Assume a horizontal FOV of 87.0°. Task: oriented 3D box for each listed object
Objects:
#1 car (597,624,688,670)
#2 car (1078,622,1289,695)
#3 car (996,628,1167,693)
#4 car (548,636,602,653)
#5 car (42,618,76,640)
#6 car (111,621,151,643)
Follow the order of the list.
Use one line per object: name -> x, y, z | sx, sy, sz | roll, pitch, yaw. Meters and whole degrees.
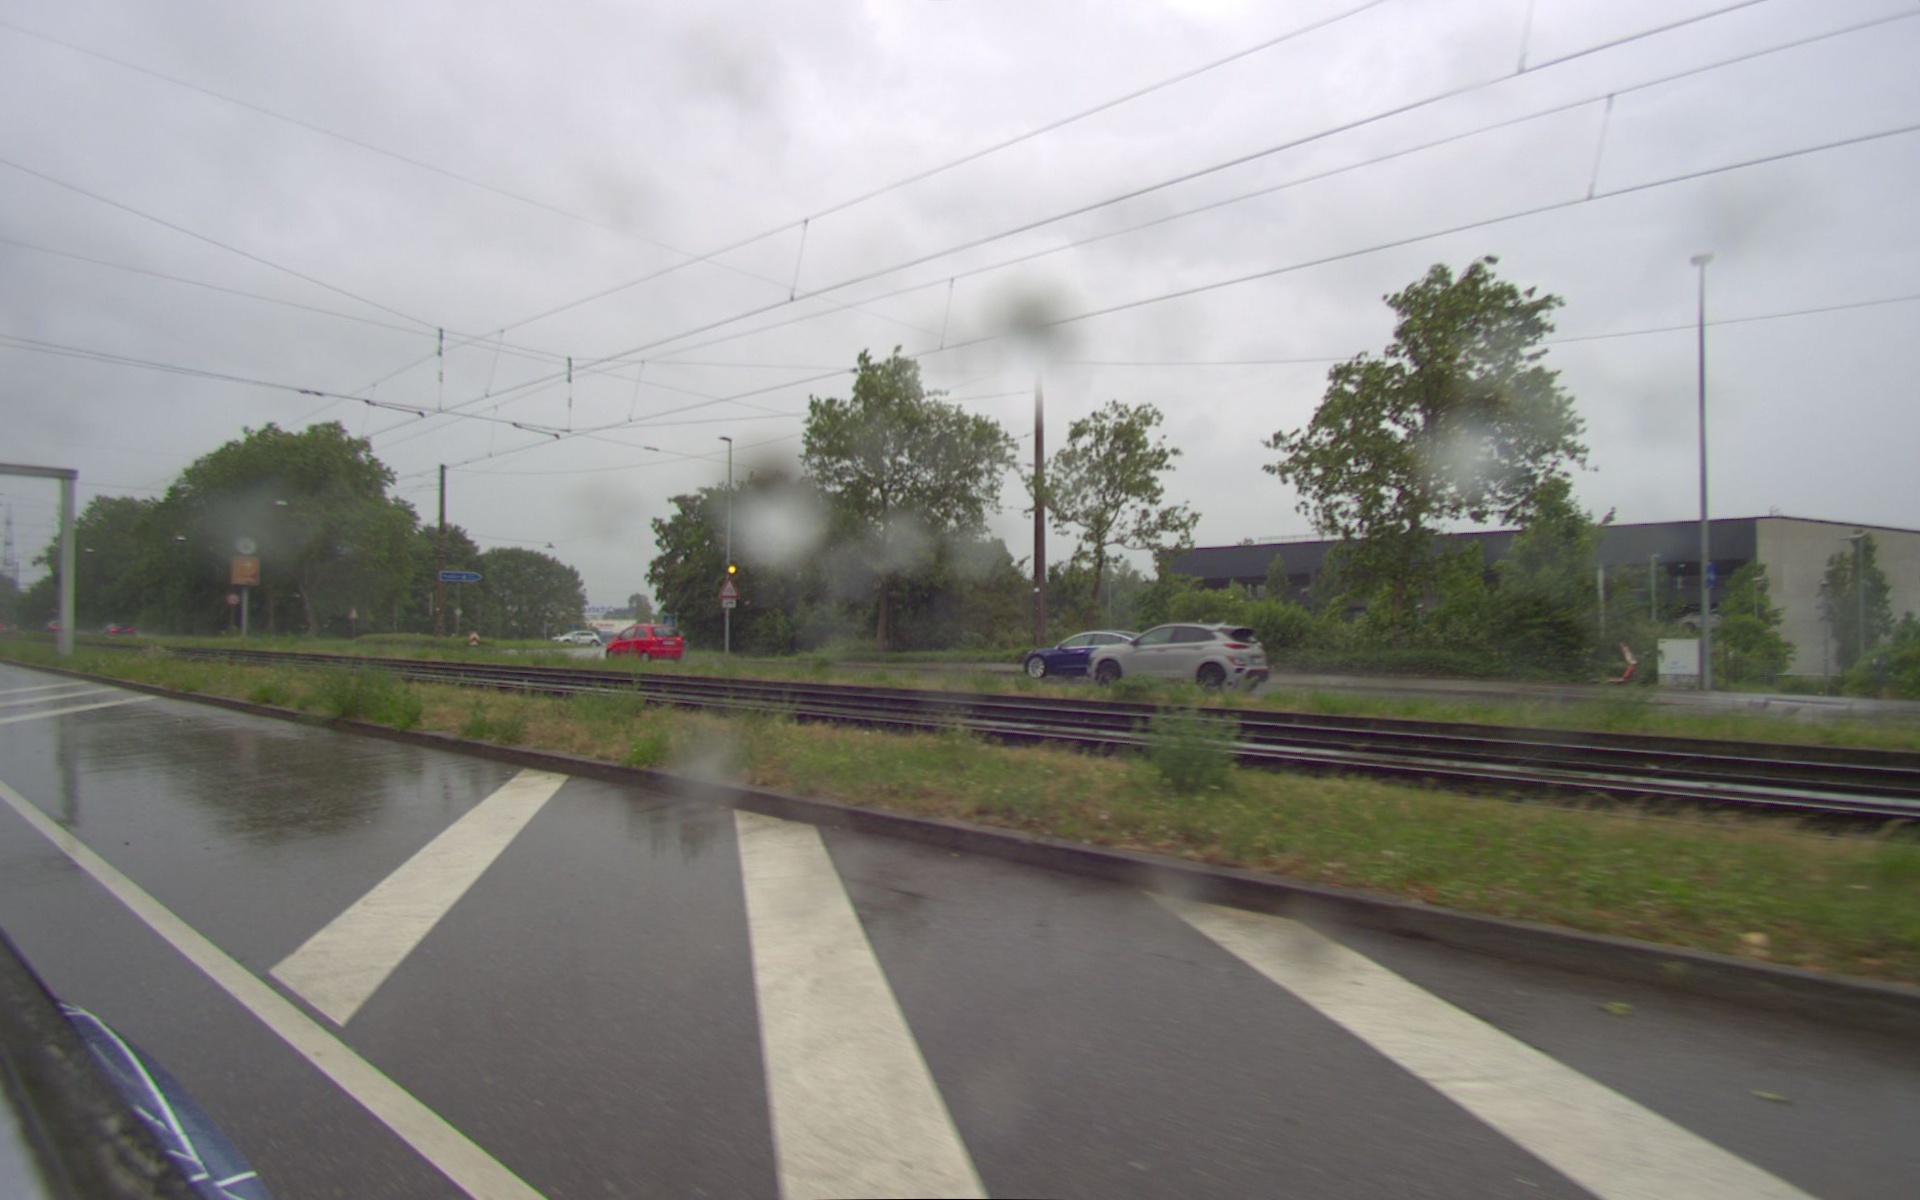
car -> -11.876, 1.708, 37.765 | 3.617, 1.602, 1.585 | -1, -1, 41
car -> 5.040, 1.269, 23.121 | 4.295, 1.497, 1.973 | -1, -1, 40
car -> 3.430, 1.670, 29.059 | 4.535, 1.694, 1.973 | -1, -1, 40
car -> -35.377, 4.091, 93.073 | 1.604, 1.366, 4.435 | -1, -1, 37
car -> -85.386, 2.755, 95.883 | 3.998, 2.029, 1.973 | -1, -2, 41
car -> -78.271, 2.968, 95.550 | 4.514, 2.029, 1.951 | -1, -1, 38
